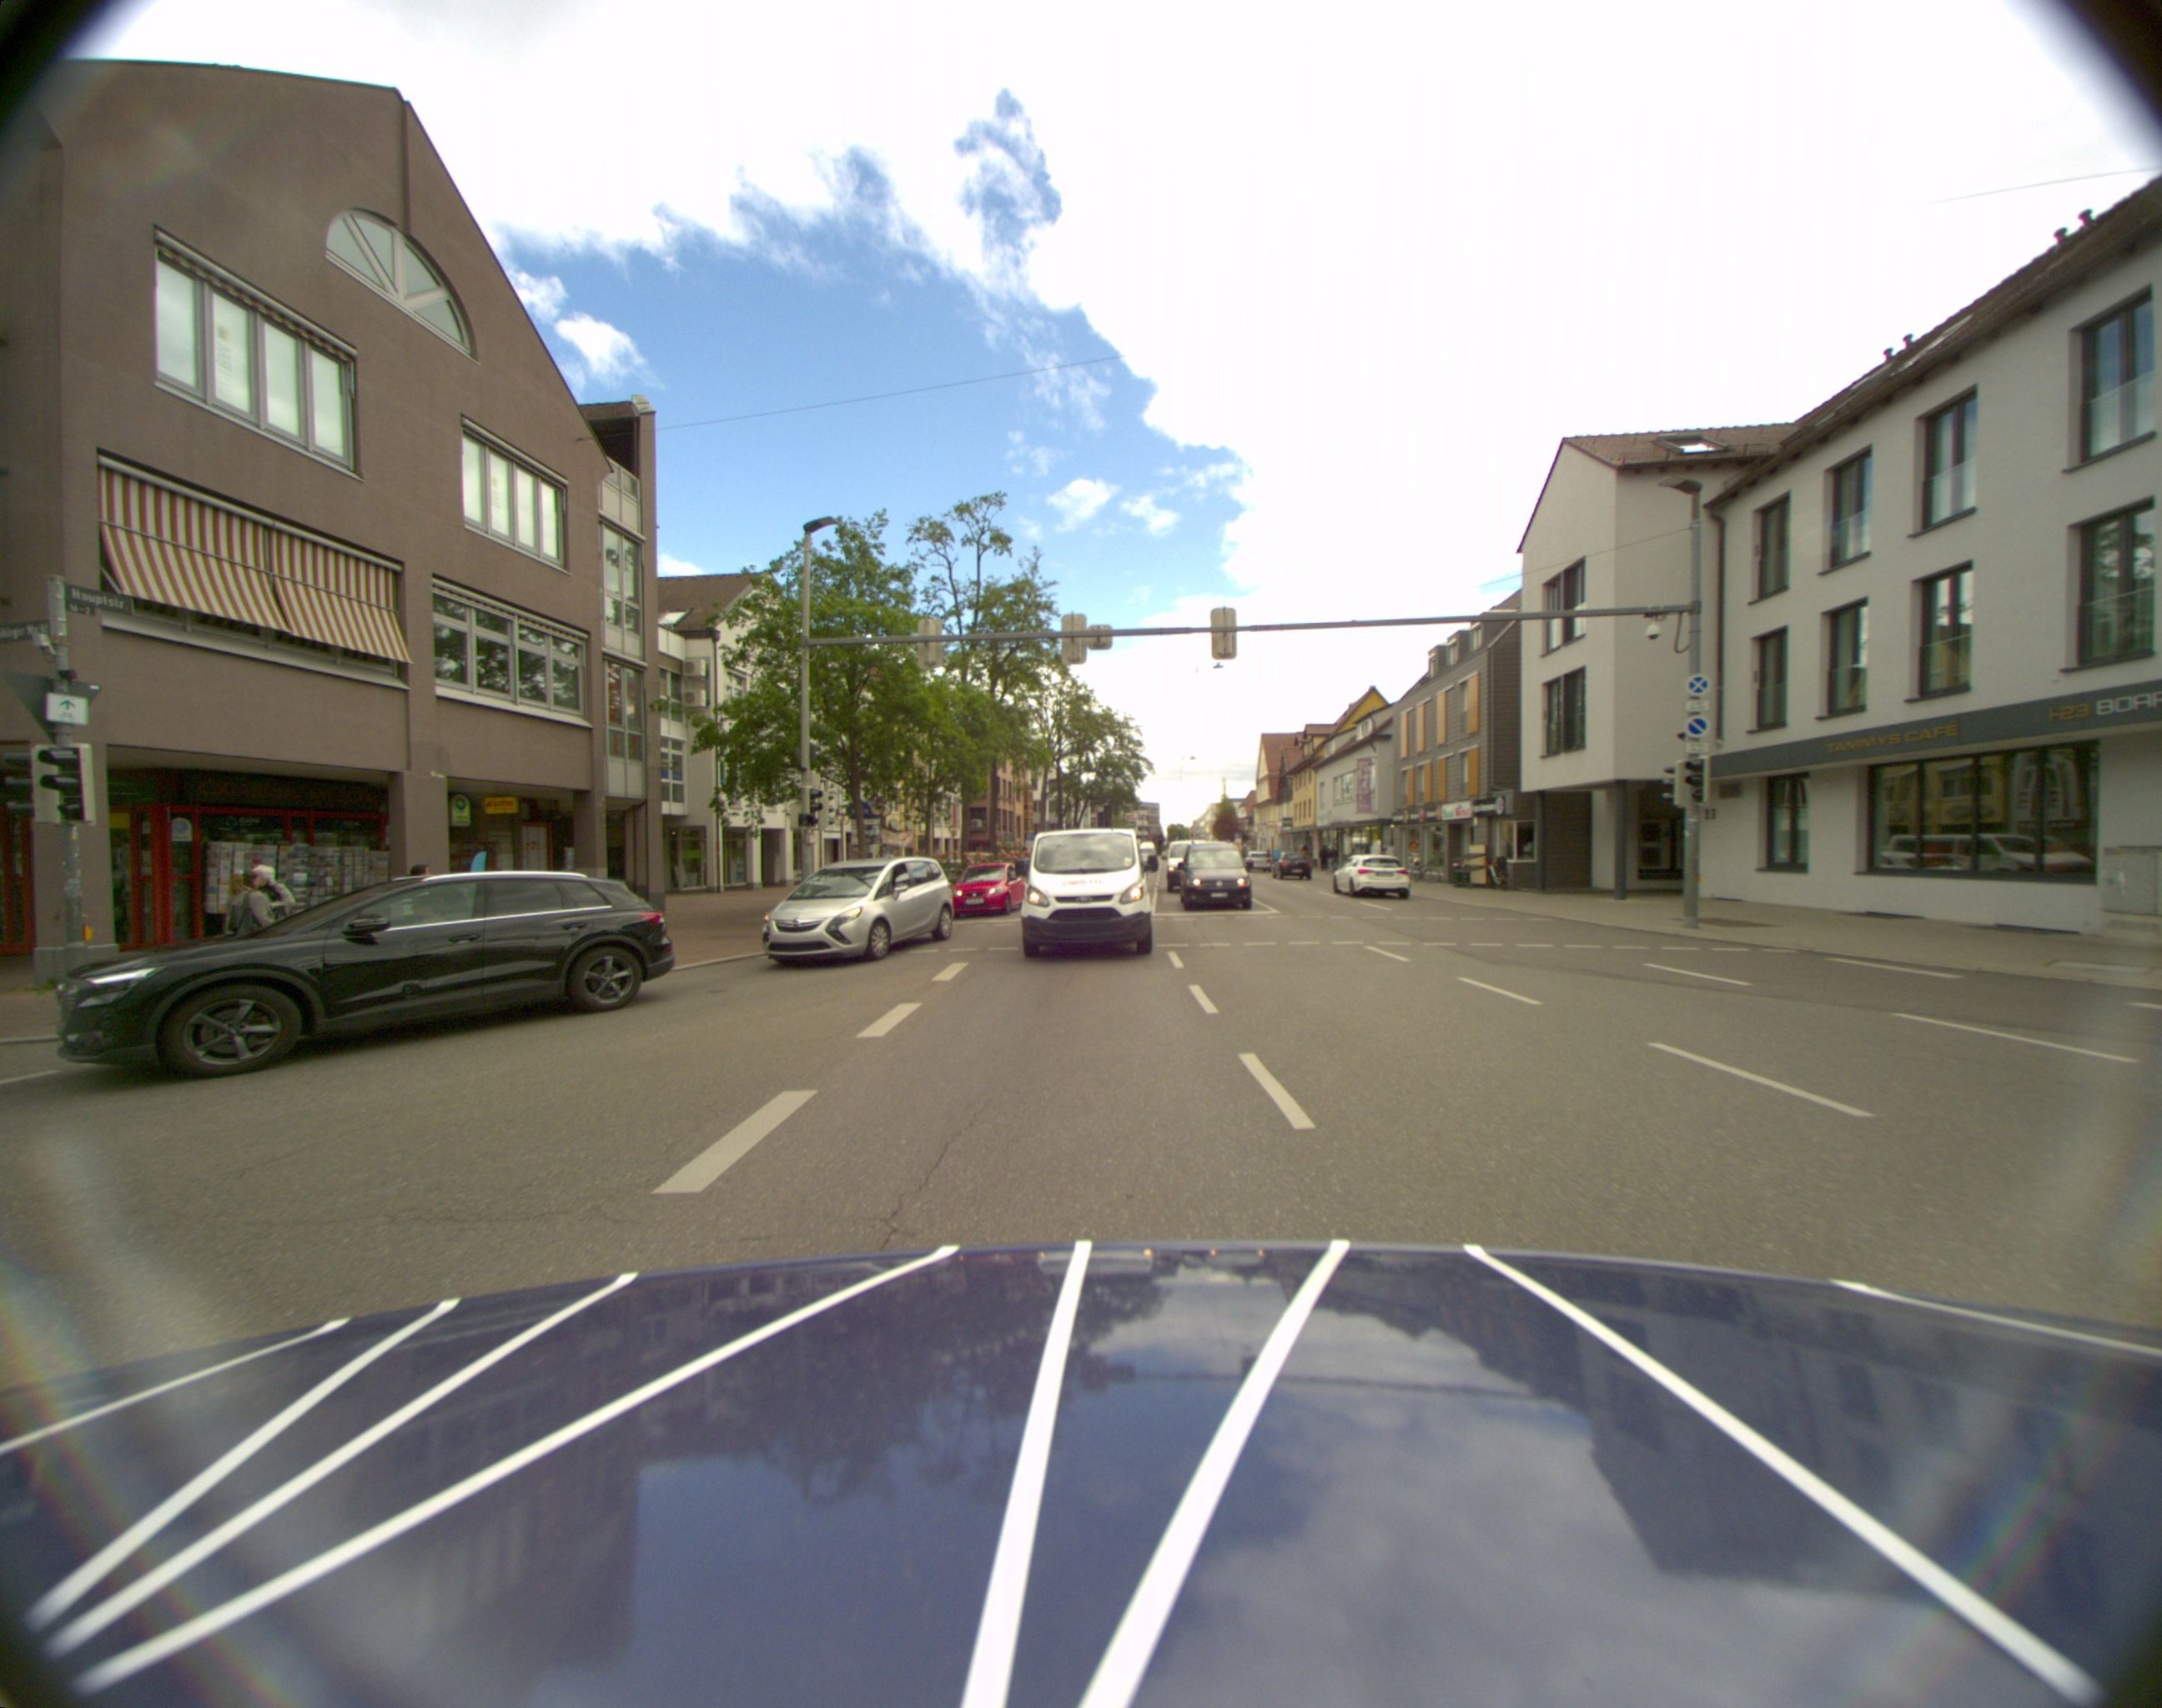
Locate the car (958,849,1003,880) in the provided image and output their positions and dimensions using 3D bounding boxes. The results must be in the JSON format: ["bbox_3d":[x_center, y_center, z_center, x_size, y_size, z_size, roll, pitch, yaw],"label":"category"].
[{"bbox_3d":[-6.465,0.644,49.314,1.998,1.865,4.754,0,1,4],"label":"car"}]

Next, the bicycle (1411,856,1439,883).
[{"bbox_3d":[15.217,0.672,33.693,0.573,1.094,1.903,-1,0,7],"label":"bicycle"}]

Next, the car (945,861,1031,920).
[{"bbox_3d":[-2.624,1.010,22.245,1.630,1.440,3.643,-3,0,7],"label":"car"}]

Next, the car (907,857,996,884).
[{"bbox_3d":[-7.324,0.919,43.198,4.647,1.445,1.740,0,1,6],"label":"car"}]

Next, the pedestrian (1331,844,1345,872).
[{"bbox_3d":[16.574,0.270,49.004,0.708,1.771,0.870,-1,1,8],"label":"pedestrian"}]

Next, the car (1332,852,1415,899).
[{"bbox_3d":[9.896,0.667,26.036,1.747,1.450,4.237,0,0,8],"label":"car"}]

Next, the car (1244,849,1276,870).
[{"bbox_3d":[13.484,0.375,57.464,1.872,1.477,4.002,-1,0,6],"label":"car"}]

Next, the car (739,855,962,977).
[{"bbox_3d":[-3.758,0.930,13.360,1.742,1.691,4.384,-3,0,12],"label":"car"}]

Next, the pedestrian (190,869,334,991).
[{"bbox_3d":[-11.535,1.034,10.750,0.810,1.617,1.094,0,1,4],"label":"pedestrian"}]

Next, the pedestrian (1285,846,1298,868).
[{"bbox_3d":[15.911,0.249,57.436,0.811,1.651,0.921,-1,1,7],"label":"pedestrian"}]

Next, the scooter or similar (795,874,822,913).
[{"bbox_3d":[-8.451,1.196,23.584,0.471,1.081,1.886,-1,1,-10],"label":"scooter or similar"}]

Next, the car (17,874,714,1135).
[{"bbox_3d":[-6.671,1.131,7.829,1.852,1.600,4.870,-2,0,34],"label":"car"}]

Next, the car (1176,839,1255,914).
[{"bbox_3d":[3.679,0.545,21.446,1.711,1.810,4.573,-3,0,5],"label":"car"}]

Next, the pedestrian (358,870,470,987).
[{"bbox_3d":[-9.706,1.051,11.092,0.743,1.617,0.954,0,1,3],"label":"pedestrian"}]

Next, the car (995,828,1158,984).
[{"bbox_3d":[0.216,0.662,12.763,1.939,1.968,5.782,-3,0,7],"label":"car"}]

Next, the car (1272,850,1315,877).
[{"bbox_3d":[11.750,0.497,42.213,1.747,1.450,3.819,0,0,7],"label":"car"}]

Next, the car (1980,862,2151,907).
[{"bbox_3d":[30.768,0.909,23.910,1.396,1.173,3.354,2,1,11],"label":"car"}]

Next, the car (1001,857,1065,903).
[{"bbox_3d":[-1.747,0.929,28.976,1.801,1.521,4.001,-3,0,5],"label":"car"}]

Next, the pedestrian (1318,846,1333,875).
[{"bbox_3d":[15.801,0.428,49.088,0.708,1.828,1.028,-1,1,8],"label":"pedestrian"}]

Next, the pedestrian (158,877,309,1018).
[{"bbox_3d":[-10.381,1.109,9.349,0.743,1.617,0.954,0,1,3],"label":"pedestrian"}]

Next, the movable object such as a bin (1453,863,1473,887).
[{"bbox_3d":[14.880,0.805,29.615,0.552,0.894,0.507,-1,1,5],"label":"movable object such as a bin"}]

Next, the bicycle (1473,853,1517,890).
[{"bbox_3d":[14.674,0.604,27.009,0.583,1.225,2.120,-1,1,5],"label":"bicycle"}]

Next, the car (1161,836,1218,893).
[{"bbox_3d":[4.275,0.366,30.370,1.997,2.002,4.842,-2,0,7],"label":"car"}]

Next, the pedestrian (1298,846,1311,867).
[{"bbox_3d":[16.863,0.202,57.291,0.811,1.574,0.921,-1,1,7],"label":"pedestrian"}]
